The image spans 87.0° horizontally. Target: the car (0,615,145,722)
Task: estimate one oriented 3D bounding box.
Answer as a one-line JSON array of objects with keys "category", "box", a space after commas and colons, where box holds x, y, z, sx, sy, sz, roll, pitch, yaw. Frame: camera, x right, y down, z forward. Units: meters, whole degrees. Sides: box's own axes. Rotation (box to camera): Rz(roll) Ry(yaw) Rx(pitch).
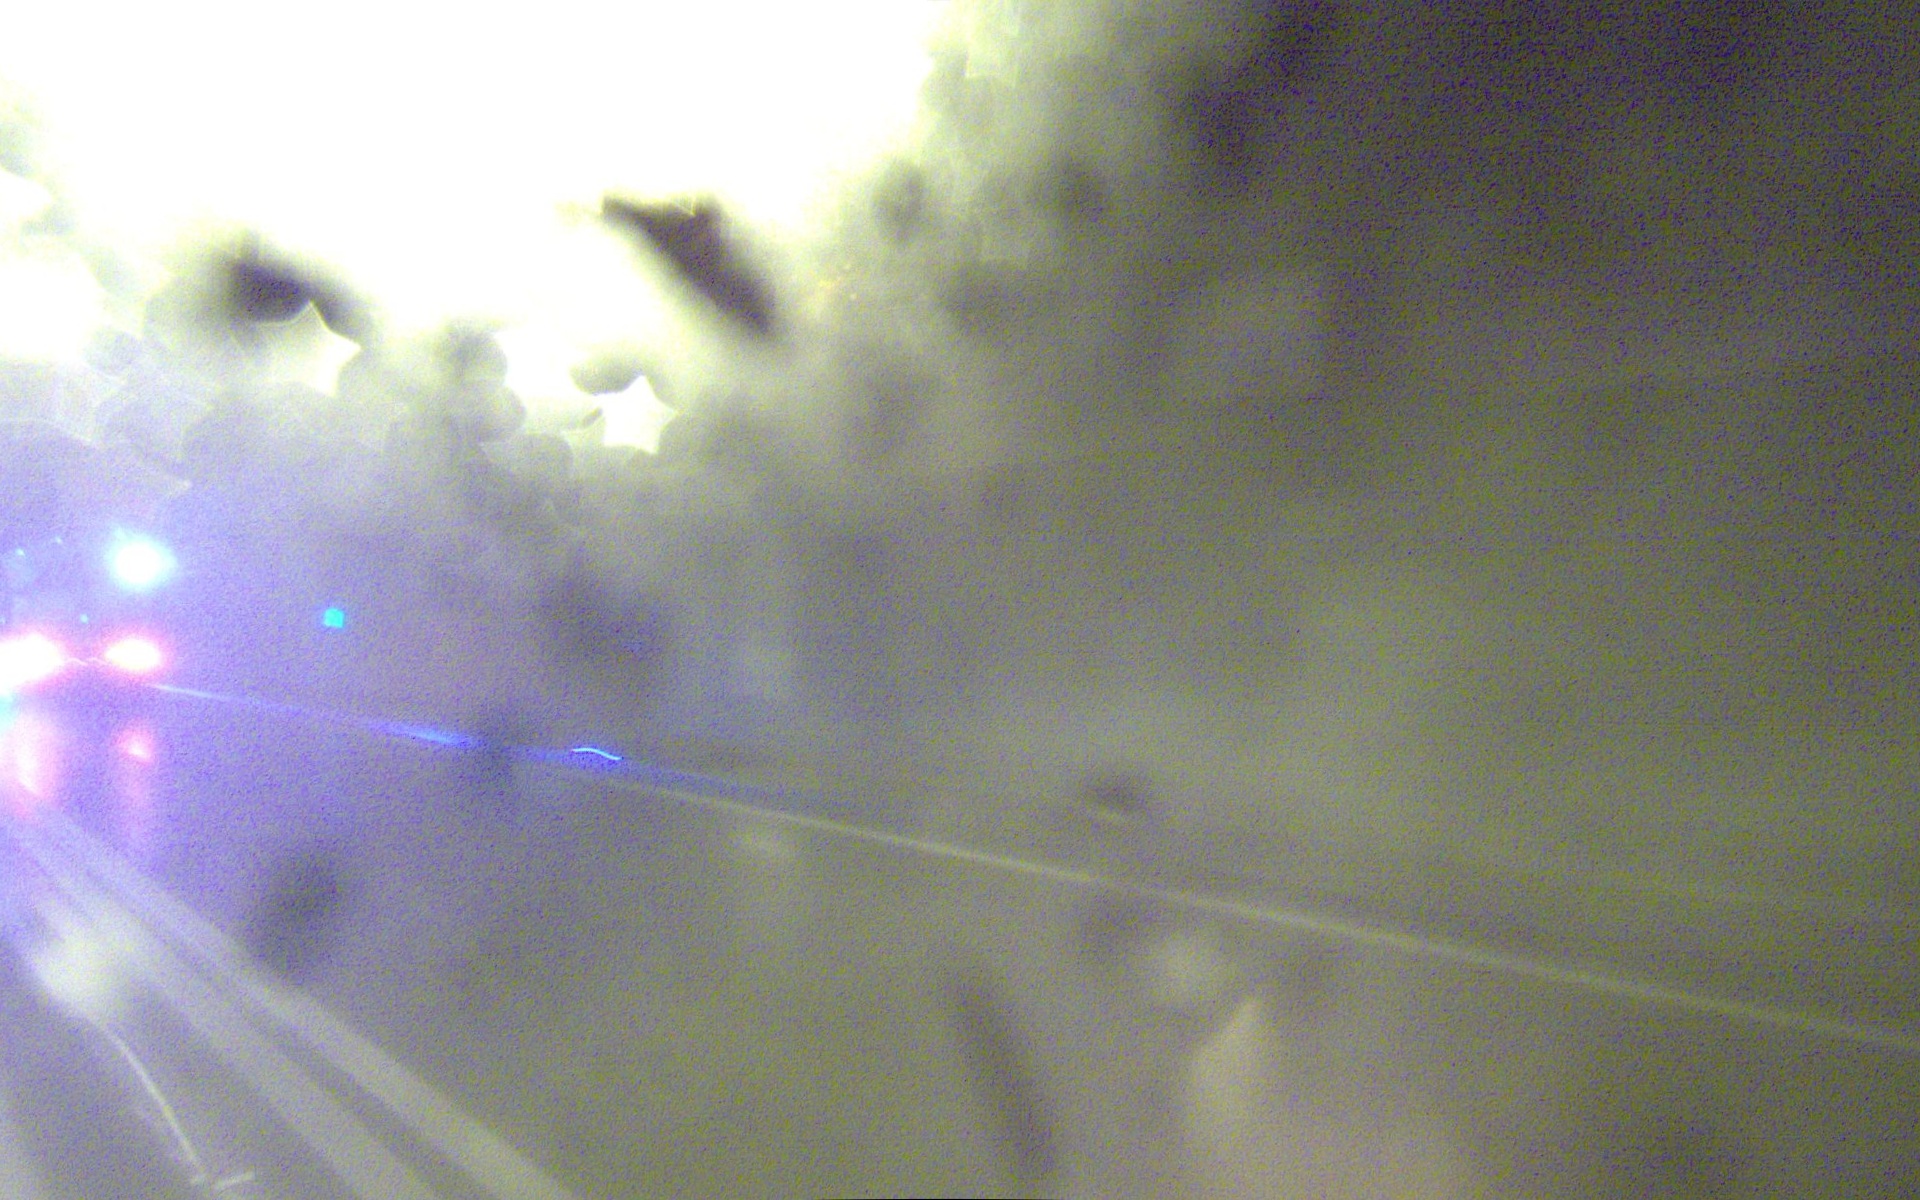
[{"category": "car", "box": [-14.951, 1.047, 16.684, 3.813, 1.540, 1.738, -1, -1, 41]}]
